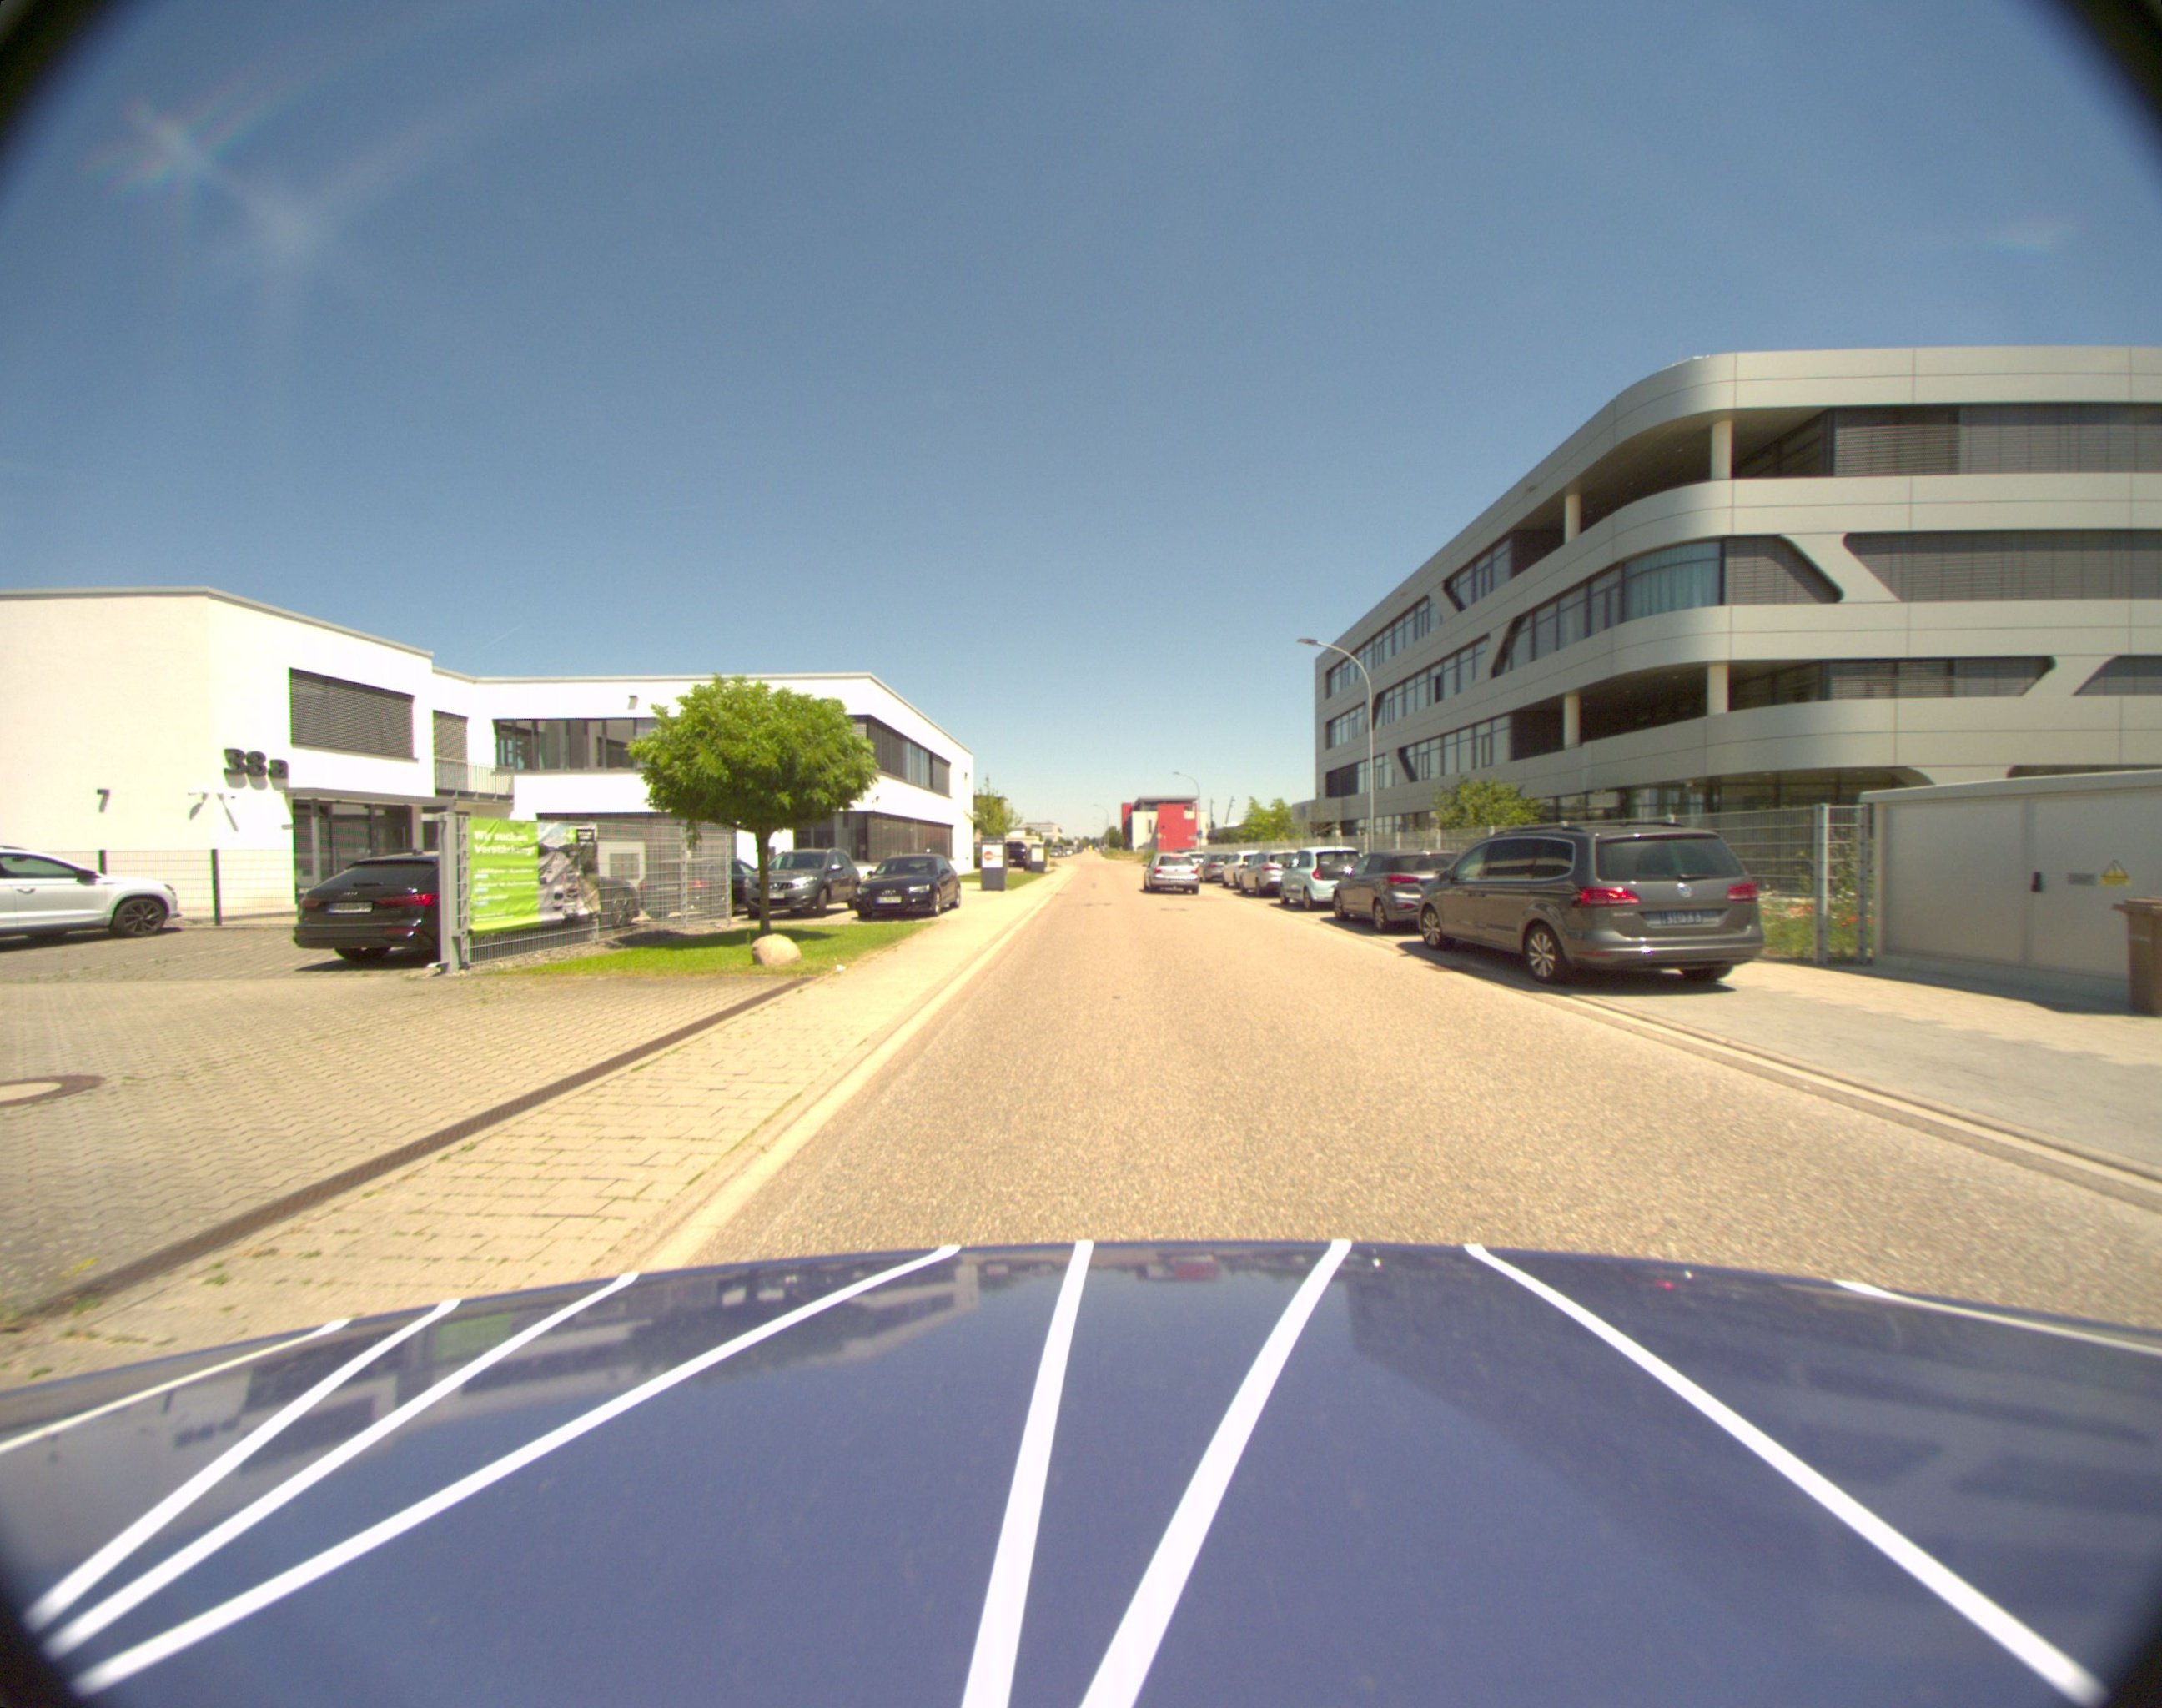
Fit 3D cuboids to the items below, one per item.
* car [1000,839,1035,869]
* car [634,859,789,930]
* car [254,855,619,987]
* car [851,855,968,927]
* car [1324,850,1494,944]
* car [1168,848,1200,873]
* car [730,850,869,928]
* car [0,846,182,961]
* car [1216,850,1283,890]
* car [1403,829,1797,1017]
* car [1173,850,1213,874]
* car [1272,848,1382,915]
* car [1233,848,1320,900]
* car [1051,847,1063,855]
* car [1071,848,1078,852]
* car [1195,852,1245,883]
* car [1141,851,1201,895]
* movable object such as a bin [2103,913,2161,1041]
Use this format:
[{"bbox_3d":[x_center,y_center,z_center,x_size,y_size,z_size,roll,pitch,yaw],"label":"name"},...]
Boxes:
[{"bbox_3d":[-4.424,0.065,53.966,1.999,2.001,5.801,0,-1,0],"label":"car"},{"bbox_3d":[-8.883,0.903,18.699,1.727,1.441,4.022,-1,1,1],"label":"car"},{"bbox_3d":[-8.887,0.802,11.055,1.742,1.390,4.053,-1,2,1],"label":"car"},{"bbox_3d":[-3.930,0.782,18.156,1.696,1.419,4.246,-1,1,1],"label":"car"},{"bbox_3d":[6.063,0.699,14.564,1.638,1.492,3.971,-2,1,2],"label":"car"},{"bbox_3d":[7.080,0.409,52.437,1.774,1.641,4.851,-1,0,3],"label":"car"},{"bbox_3d":[-6.637,0.745,18.401,1.727,1.623,4.022,-1,1,1],"label":"car"},{"bbox_3d":[-16.864,0.765,11.420,1.742,1.628,4.053,-1,2,1],"label":"car"},{"bbox_3d":[6.720,0.579,30.753,1.707,1.435,4.439,-2,1,1],"label":"car"},{"bbox_3d":[5.858,0.631,9.447,1.807,1.710,4.622,-2,1,1],"label":"car"},{"bbox_3d":[6.660,0.456,45.368,1.703,1.378,3.937,-1,0,-1],"label":"car"},{"bbox_3d":[6.231,0.631,19.652,1.638,1.527,3.657,-2,1,1],"label":"car"},{"bbox_3d":[6.383,0.597,25.275,1.707,1.527,4.571,-2,1,1],"label":"car"},{"bbox_3d":[-4.223,-0.552,135.228,1.828,1.269,3.886,0,1,2],"label":"car"},{"bbox_3d":[-1.883,-1.097,214.401,1.828,1.269,3.886,0,1,2],"label":"car"},{"bbox_3d":[6.643,0.596,36.671,1.688,1.378,4.639,-1,0,2],"label":"car"},{"bbox_3d":[3.271,0.642,28.380,1.708,1.403,4.784,1,1,1],"label":"car"},{"bbox_3d":[8.559,0.962,5.928,0.601,0.940,0.517,-1,1,41],"label":"movable object such as a bin"}]
